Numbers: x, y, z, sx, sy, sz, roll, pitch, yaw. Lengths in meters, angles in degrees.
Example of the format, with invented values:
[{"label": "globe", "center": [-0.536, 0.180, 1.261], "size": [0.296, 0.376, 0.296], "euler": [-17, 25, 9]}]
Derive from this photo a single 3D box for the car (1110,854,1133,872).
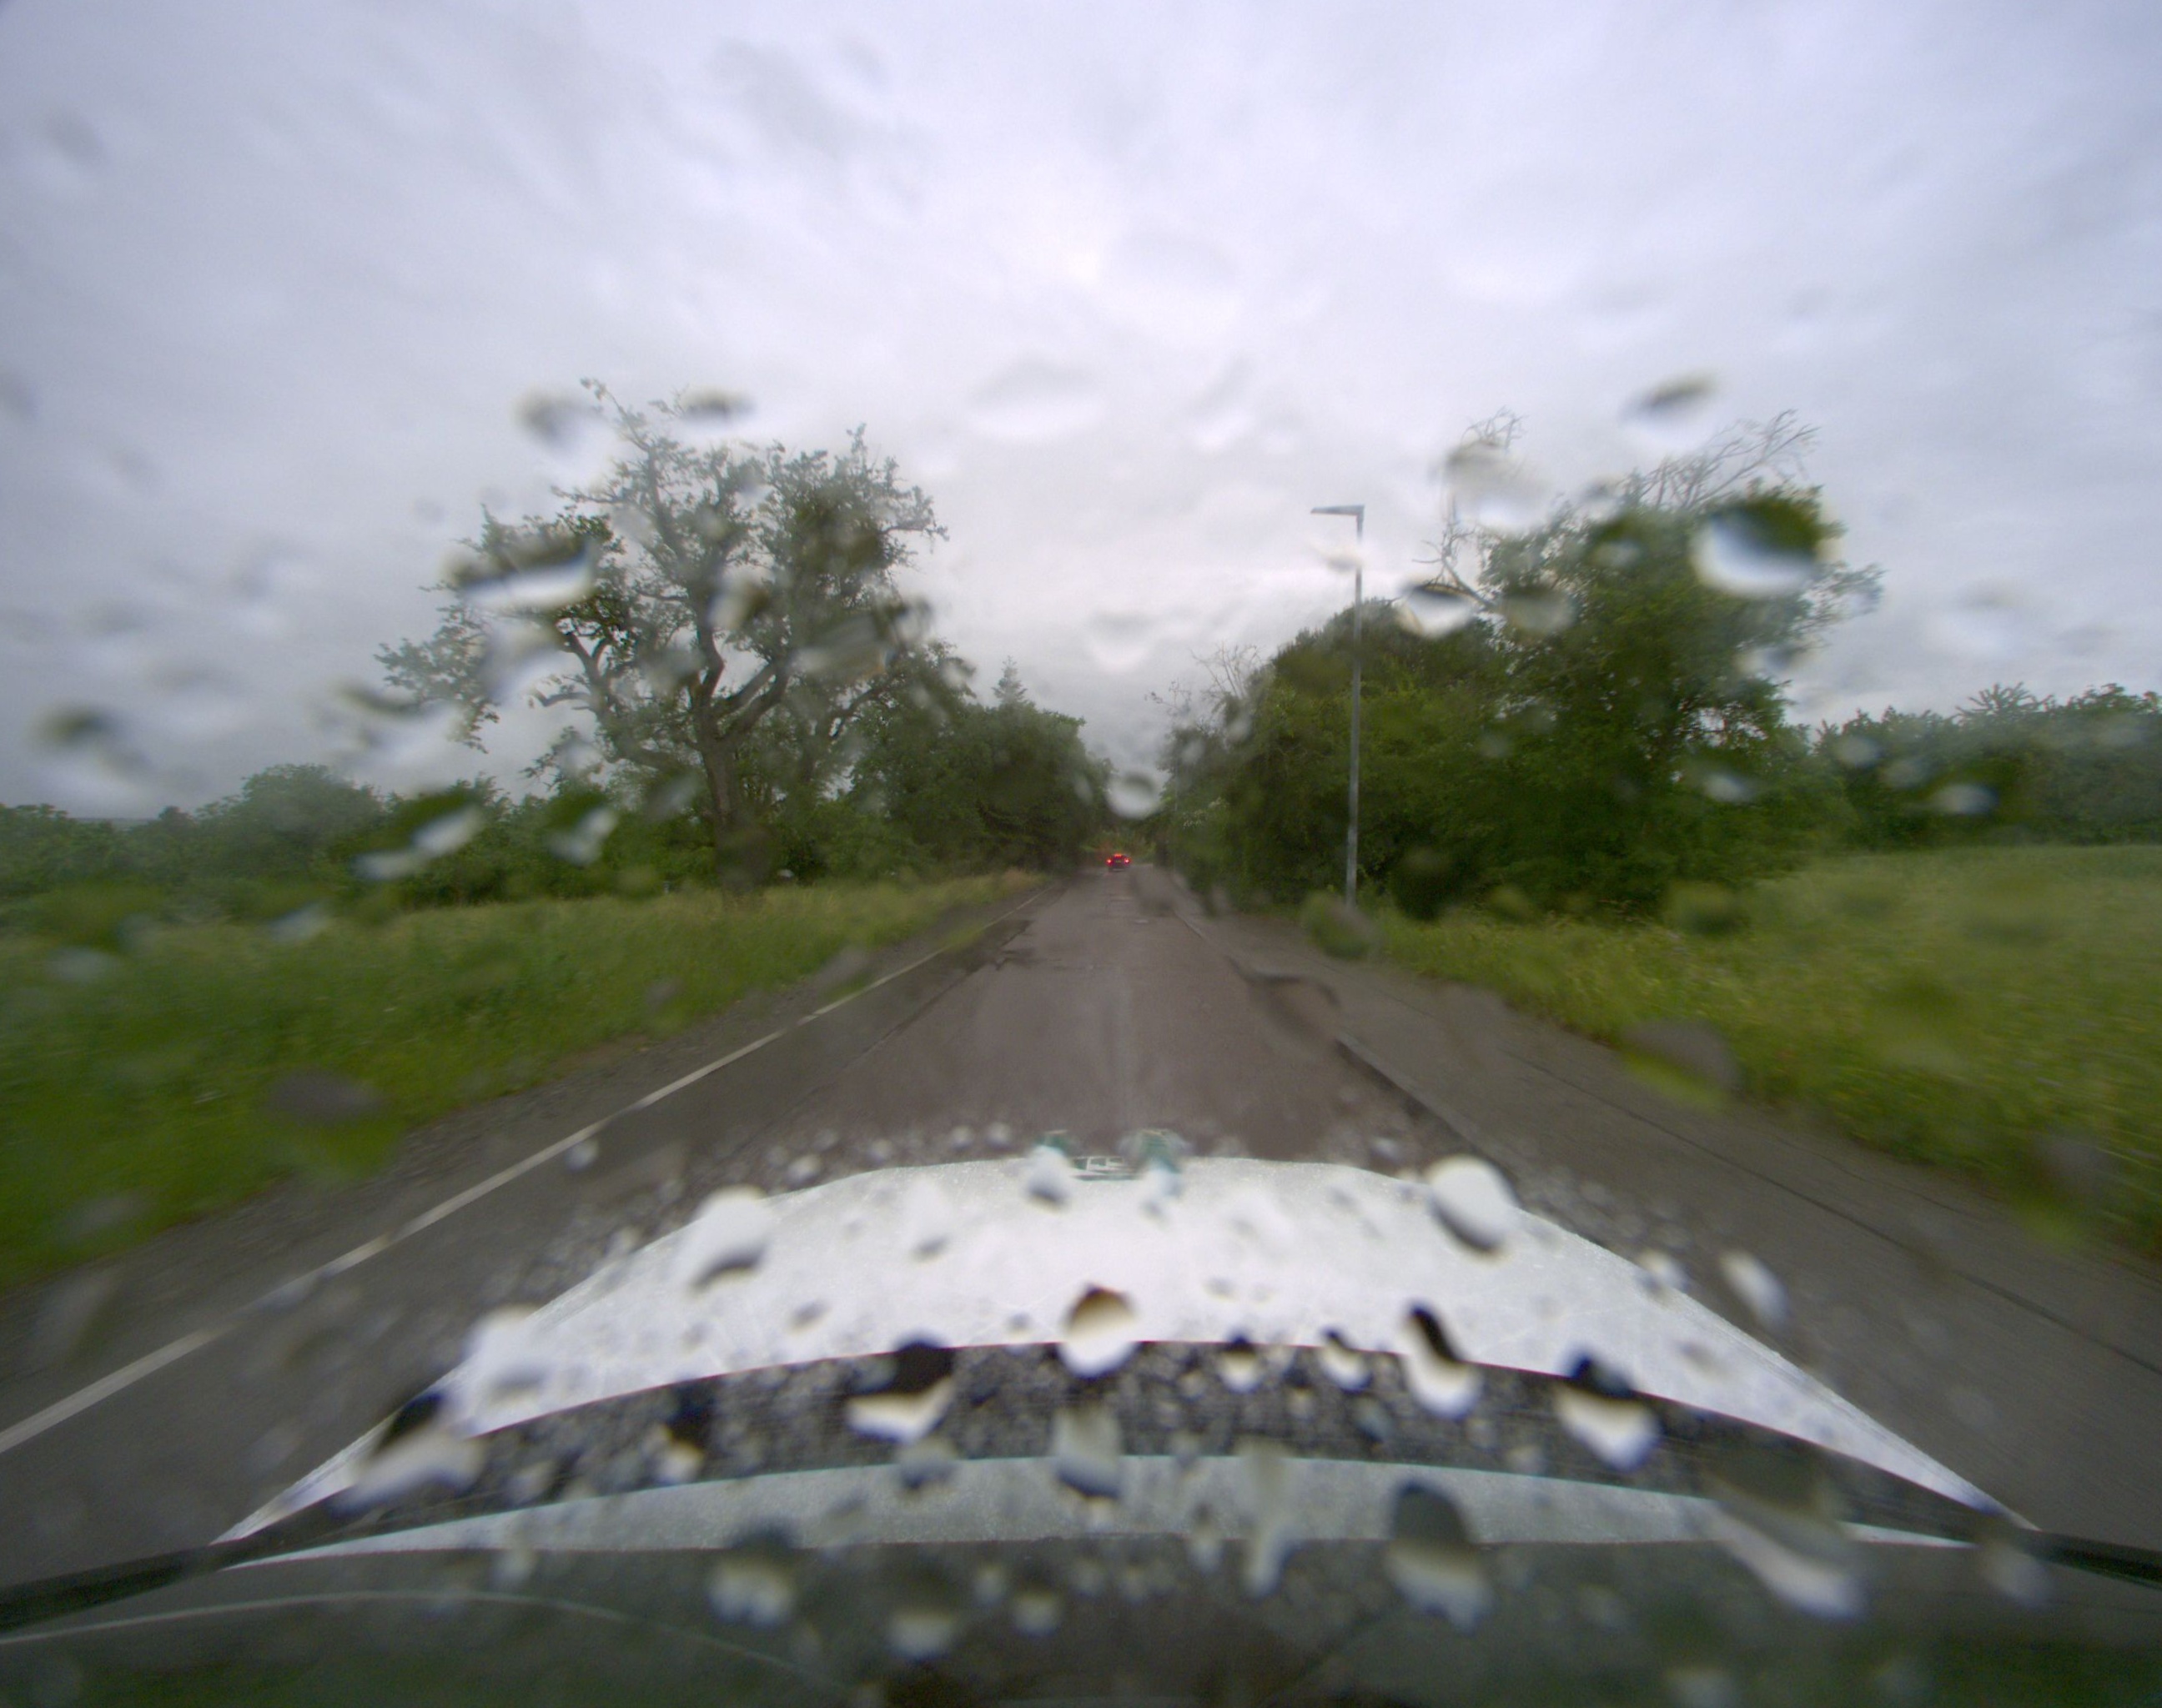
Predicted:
[{"label": "car", "center": [3.447, 0.775, 69.044], "size": [1.626, 1.450, 3.551], "euler": [0, -1, 8]}]
